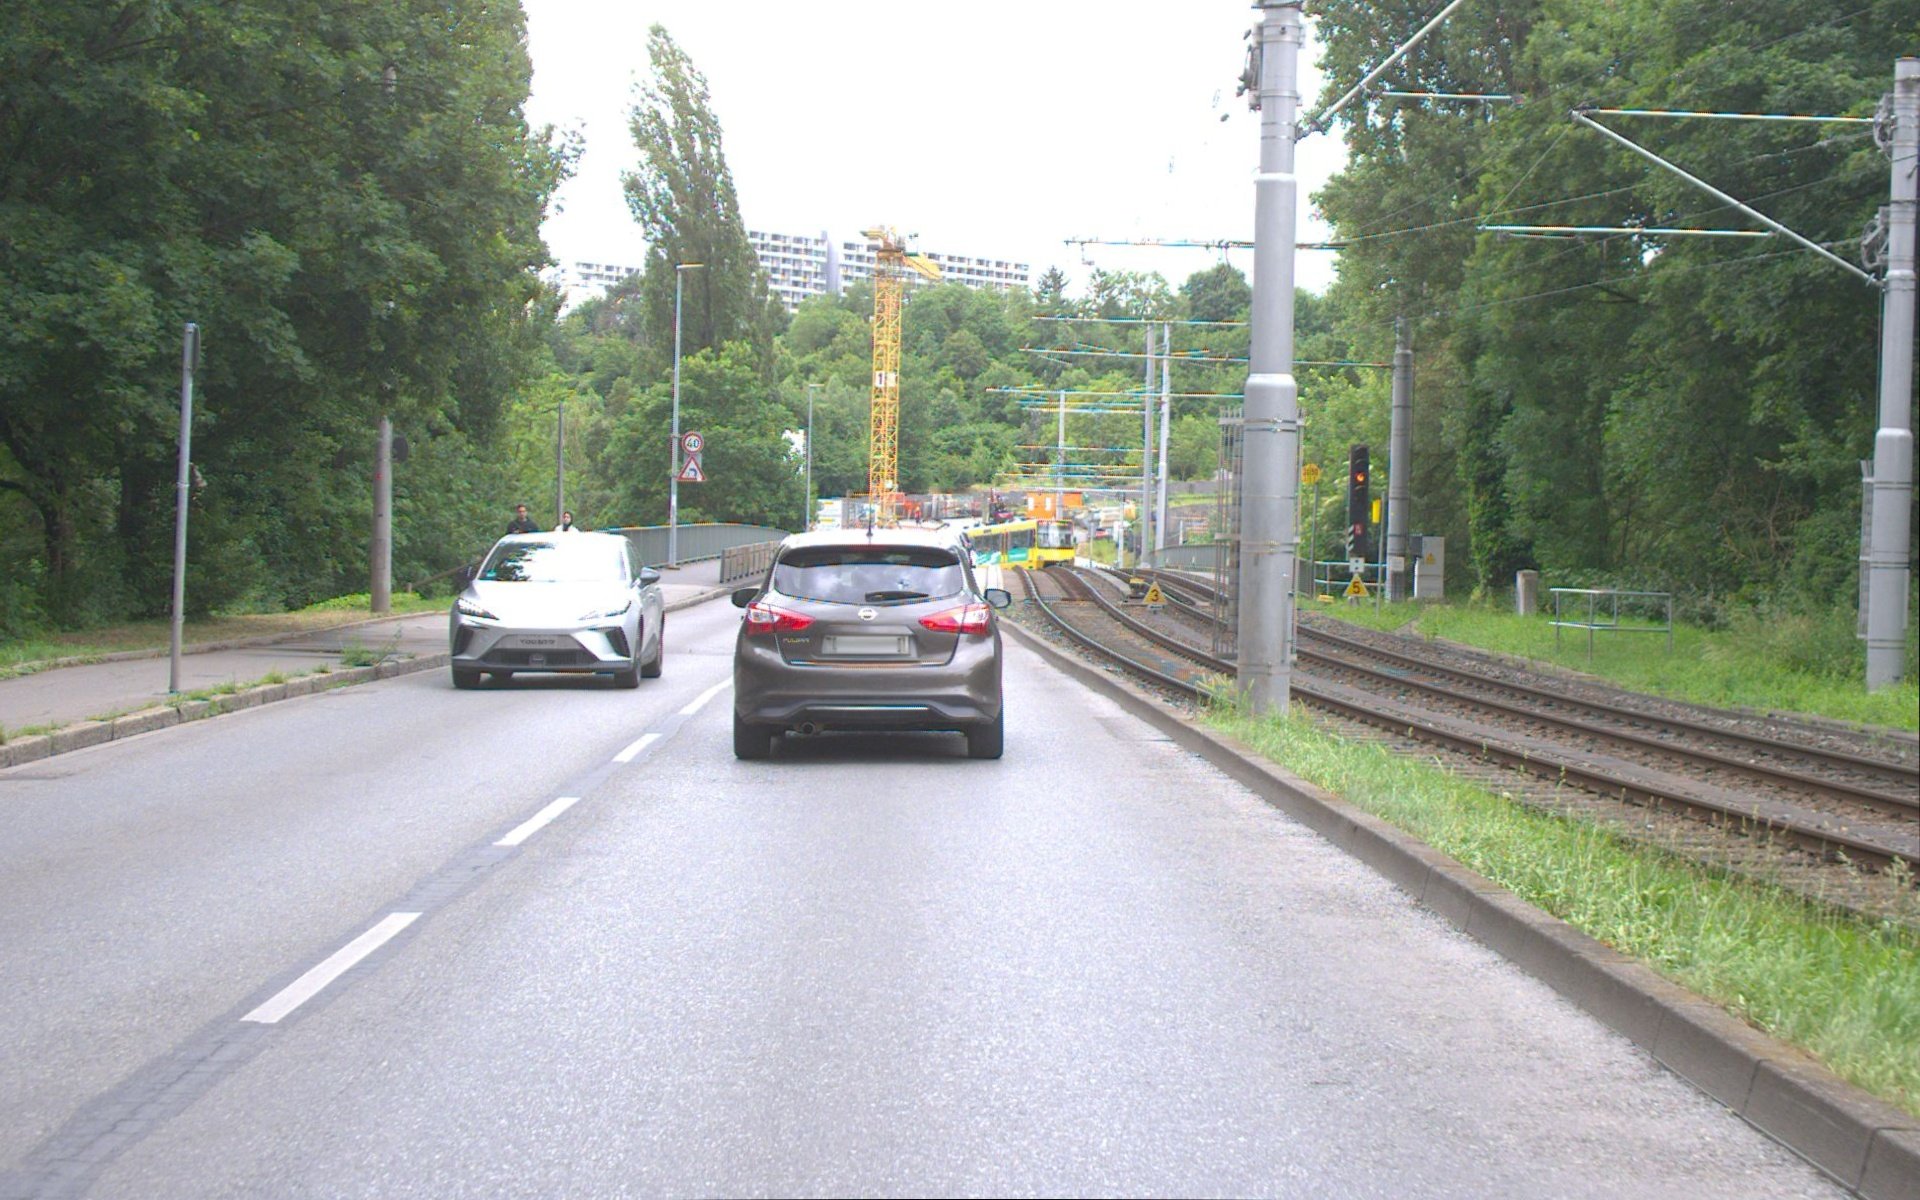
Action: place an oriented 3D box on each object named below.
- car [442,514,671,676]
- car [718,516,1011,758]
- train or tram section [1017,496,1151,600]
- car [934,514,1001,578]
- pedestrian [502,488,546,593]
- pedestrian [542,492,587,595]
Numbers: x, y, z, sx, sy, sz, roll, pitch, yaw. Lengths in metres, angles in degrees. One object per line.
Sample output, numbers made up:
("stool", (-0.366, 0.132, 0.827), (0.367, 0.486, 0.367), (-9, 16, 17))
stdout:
("car", (-3.949, -0.099, 34.273), (1.794, 1.487, 4.180), (-1, 1, 0))
("car", (-0.696, 0.190, 23.733), (1.829, 1.504, 4.001), (1, 1, -3))
("train or tram section", (6.784, -2.763, 194.157), (3.027, 5.164, 23.060), (3, -1, -9))
("car", (0.214, -1.463, 91.161), (1.680, 1.601, 4.309), (2, 1, 0))
("pedestrian", (-7.642, -1.044, 60.272), (0.587, 1.797, 0.822), (3, 1, -1))
("pedestrian", (-6.950, -0.999, 60.396), (0.551, 1.759, 0.858), (5, 1, -1))
